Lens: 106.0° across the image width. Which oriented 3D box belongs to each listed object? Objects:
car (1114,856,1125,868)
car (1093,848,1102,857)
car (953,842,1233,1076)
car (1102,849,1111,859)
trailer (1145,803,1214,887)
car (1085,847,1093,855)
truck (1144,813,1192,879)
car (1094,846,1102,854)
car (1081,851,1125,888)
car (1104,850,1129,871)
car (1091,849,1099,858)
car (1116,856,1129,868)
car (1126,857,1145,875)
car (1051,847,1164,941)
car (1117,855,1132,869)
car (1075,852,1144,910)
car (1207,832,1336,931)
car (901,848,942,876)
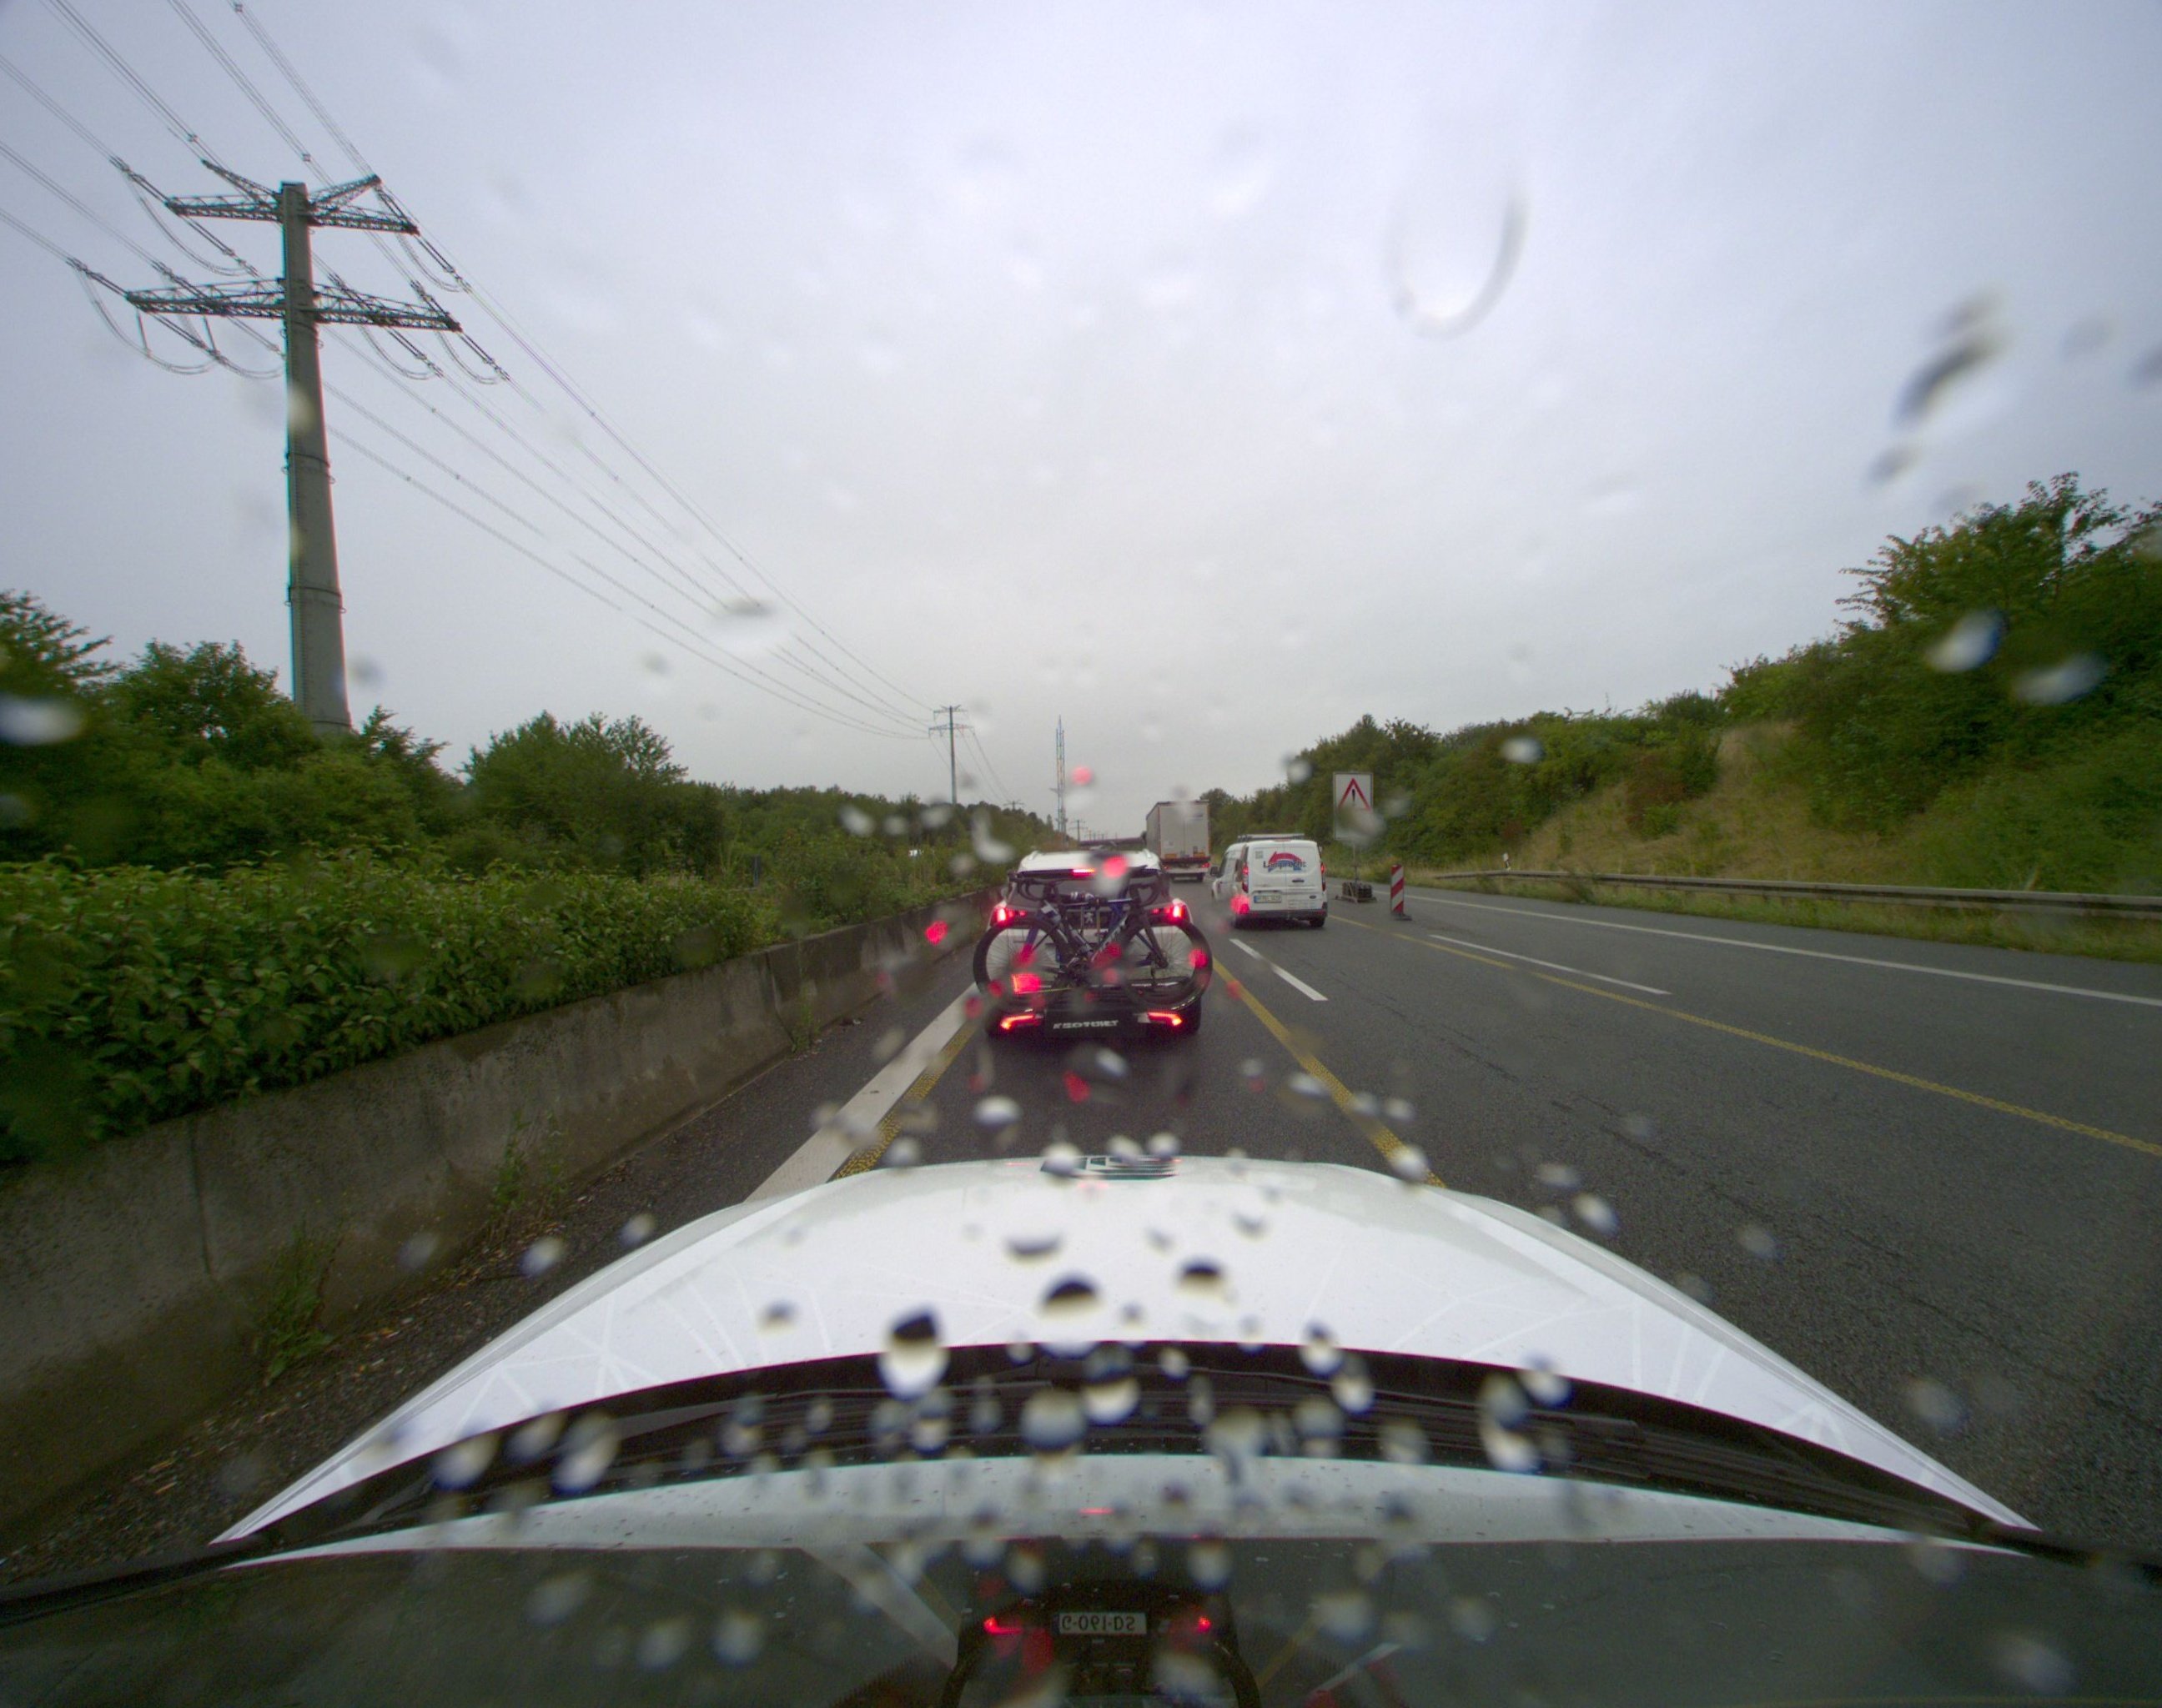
[{"bbox_3d":[7.262,1.502,154.221,2.140,1.973,4.002,-1,1,2],"label":"car"},{"bbox_3d":[3.999,-0.331,195.370,1.924,1.910,4.002,-1,1,2],"label":"car"},{"bbox_3d":[0.155,0.704,7.824,1.843,1.531,4.770,-1,0,2],"label":"car"},{"bbox_3d":[5.421,-0.061,175.621,1.924,1.973,4.002,-1,1,2],"label":"car"},{"bbox_3d":[5.408,-0.466,46.906,2.682,4.076,13.639,-1,0,2],"label":"trailer"},{"bbox_3d":[2.281,-0.837,242.248,2.249,2.424,4.002,-1,1,2],"label":"car"},{"bbox_3d":[5.654,-0.486,53.921,2.650,4.076,6.542,-1,0,2],"label":"truck"},{"bbox_3d":[4.357,-1.134,208.262,1.924,1.973,4.002,-1,1,2],"label":"car"},{"bbox_3d":[0.984,0.646,36.709,1.843,1.531,4.002,-1,0,2],"label":"car"},{"bbox_3d":[2.789,0.513,64.592,1.843,1.531,4.002,-1,0,2],"label":"car"},{"bbox_3d":[3.568,-0.128,202.418,1.924,1.973,4.002,-1,1,2],"label":"car"},{"bbox_3d":[7.141,1.388,140.372,2.140,1.973,4.002,-1,1,2],"label":"car"},{"bbox_3d":[6.355,1.399,95.580,2.102,1.973,4.002,-1,1,2],"label":"car"},{"bbox_3d":[0.502,0.662,15.497,1.843,1.531,4.002,-1,0,2],"label":"car"},{"bbox_3d":[6.673,1.188,125.207,2.140,1.973,4.002,-1,1,2],"label":"car"},{"bbox_3d":[0.830,0.725,23.820,1.843,1.531,4.002,-1,0,2],"label":"car"},{"bbox_3d":[3.963,0.511,17.706,1.822,1.839,4.657,-1,0,2],"label":"car"},{"bbox_3d":[-13.290,0.631,68.150,2.172,2.265,5.206,-1,0,2],"label":"car"}]
